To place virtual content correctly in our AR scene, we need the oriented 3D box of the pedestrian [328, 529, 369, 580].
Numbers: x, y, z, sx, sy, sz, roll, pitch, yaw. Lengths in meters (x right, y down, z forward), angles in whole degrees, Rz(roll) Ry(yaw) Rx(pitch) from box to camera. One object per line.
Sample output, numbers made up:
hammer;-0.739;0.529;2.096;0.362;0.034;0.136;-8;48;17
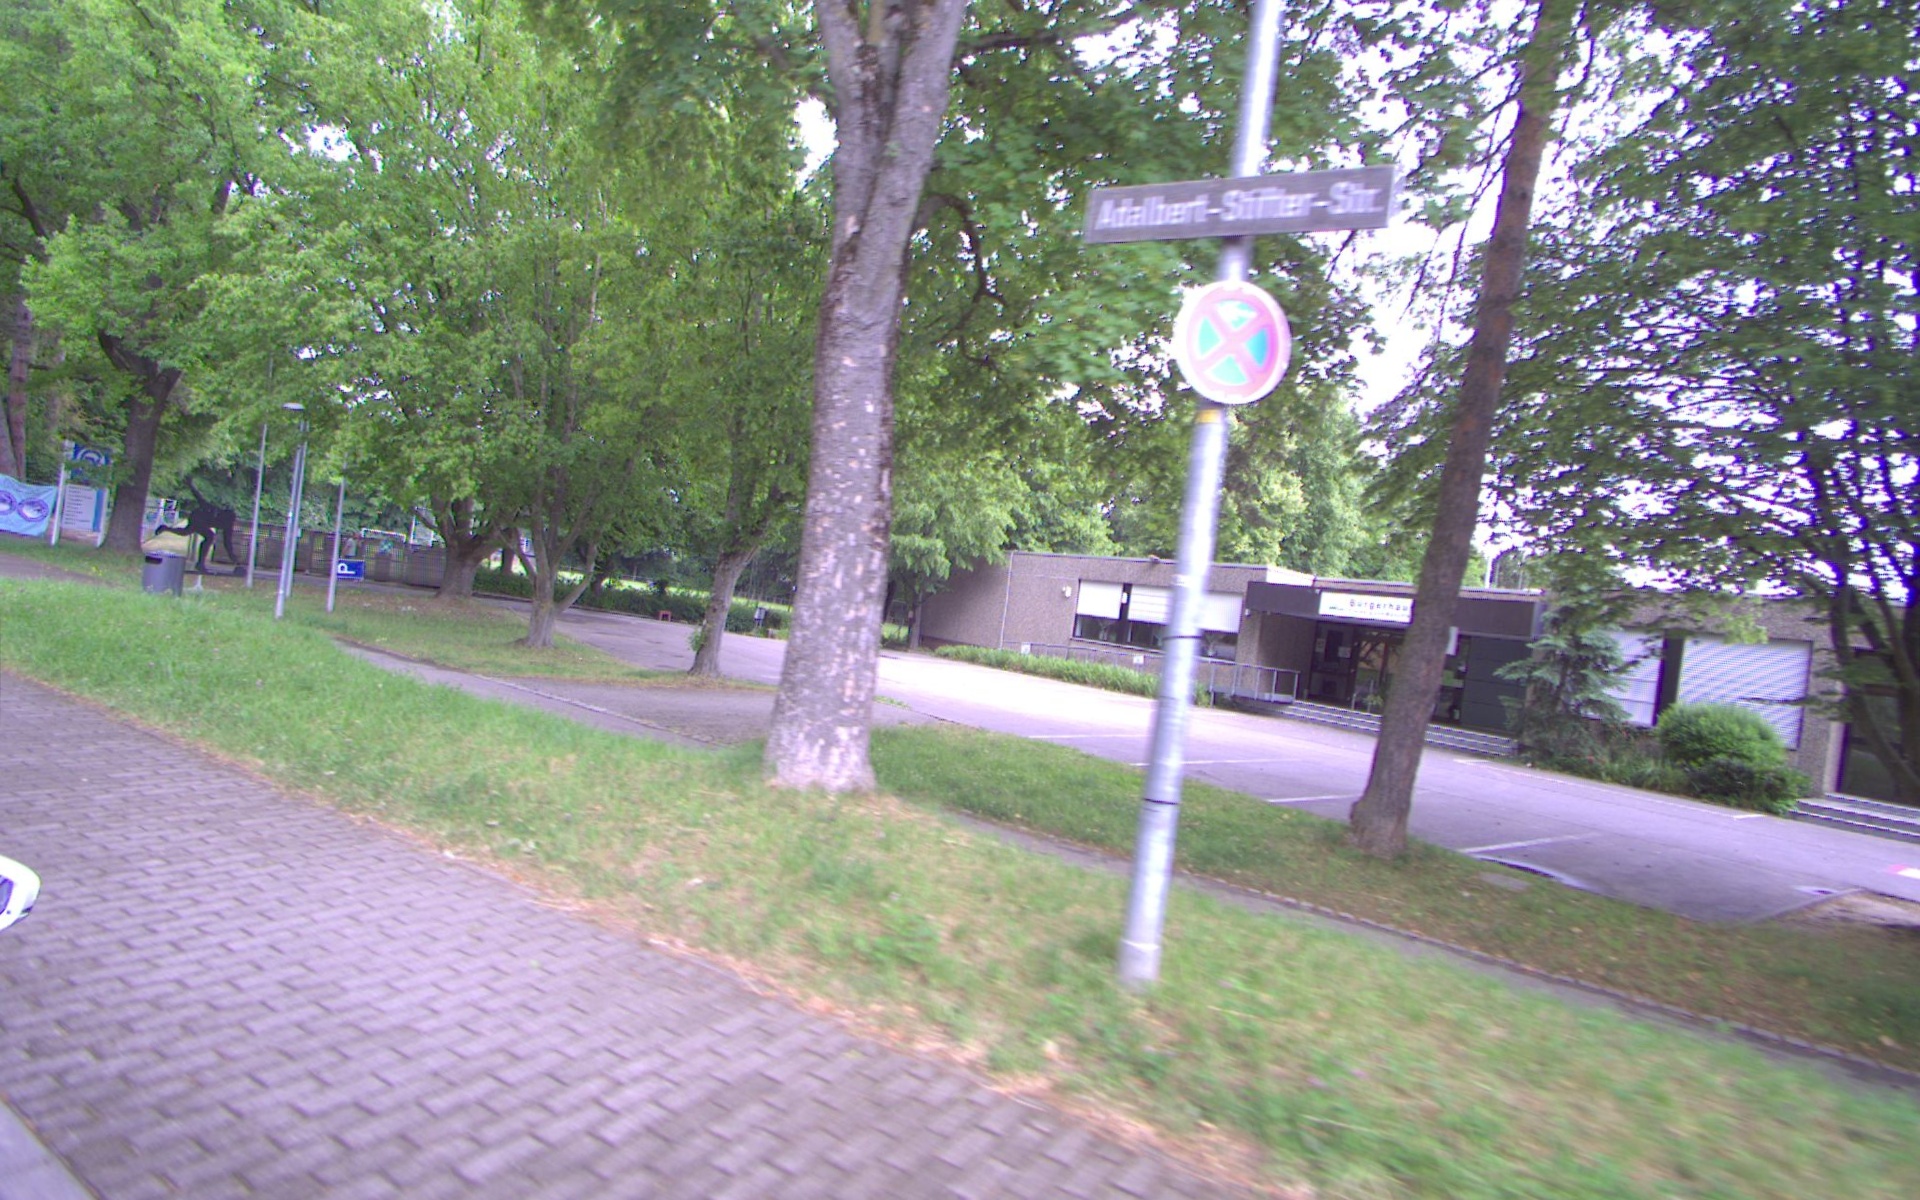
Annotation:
pedestrian;-21.975;-1.631;36.150;1.140;1.695;0.786;6;1;-34
